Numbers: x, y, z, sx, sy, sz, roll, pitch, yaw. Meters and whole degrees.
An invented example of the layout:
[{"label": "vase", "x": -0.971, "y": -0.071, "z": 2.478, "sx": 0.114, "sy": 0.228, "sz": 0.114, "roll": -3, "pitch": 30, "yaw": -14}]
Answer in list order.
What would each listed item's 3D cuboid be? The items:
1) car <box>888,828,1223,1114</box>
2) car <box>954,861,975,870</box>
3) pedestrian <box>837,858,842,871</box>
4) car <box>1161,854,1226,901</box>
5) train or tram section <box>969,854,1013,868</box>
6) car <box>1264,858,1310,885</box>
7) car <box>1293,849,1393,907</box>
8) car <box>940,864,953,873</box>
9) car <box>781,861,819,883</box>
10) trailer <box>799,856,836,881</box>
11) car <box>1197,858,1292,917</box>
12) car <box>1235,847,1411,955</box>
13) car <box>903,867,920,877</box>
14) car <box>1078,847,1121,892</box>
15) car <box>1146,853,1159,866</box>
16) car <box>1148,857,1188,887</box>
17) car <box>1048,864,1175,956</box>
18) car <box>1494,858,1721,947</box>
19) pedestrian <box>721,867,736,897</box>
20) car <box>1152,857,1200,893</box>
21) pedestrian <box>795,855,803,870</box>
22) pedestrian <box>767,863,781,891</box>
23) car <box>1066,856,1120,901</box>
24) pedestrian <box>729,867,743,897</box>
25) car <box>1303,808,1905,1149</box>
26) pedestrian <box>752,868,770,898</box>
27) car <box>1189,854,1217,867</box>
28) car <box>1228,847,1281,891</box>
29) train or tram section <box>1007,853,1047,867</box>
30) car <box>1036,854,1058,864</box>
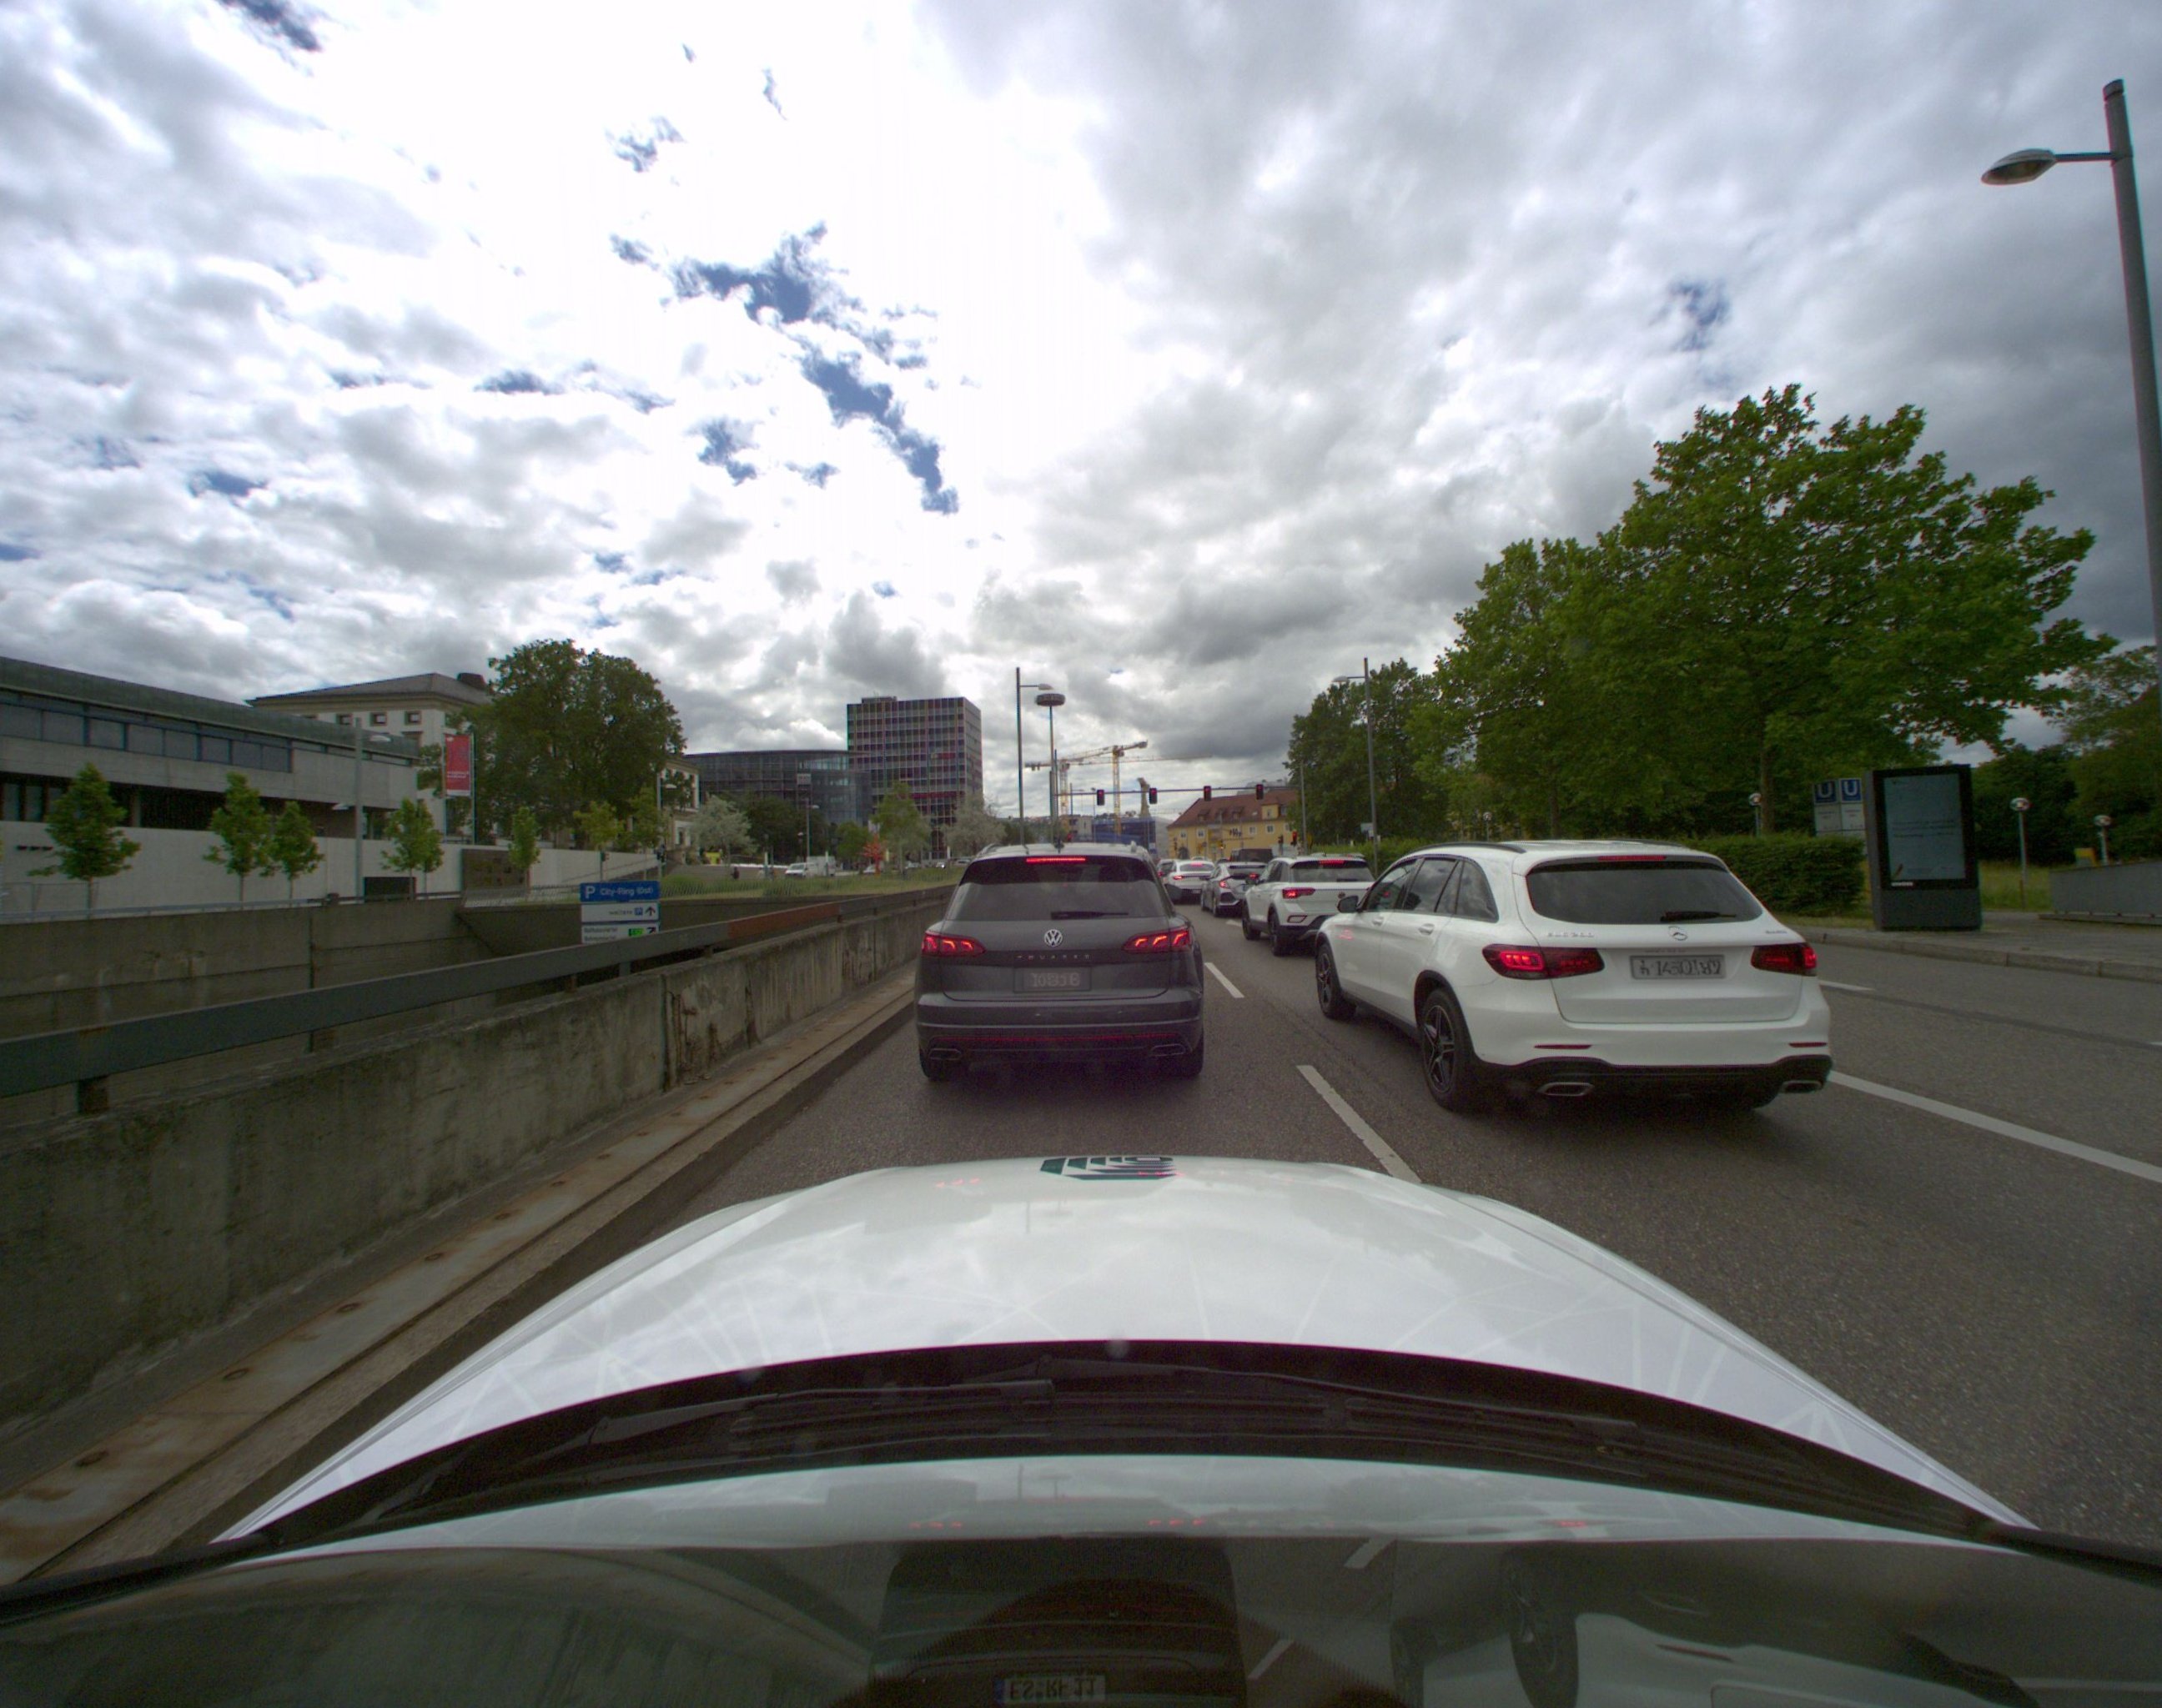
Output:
[{"label": "car", "x": -0.095, "y": 0.705, "z": 6.801, "sx": 1.944, "sy": 1.651, "sz": 4.001, "roll": -1, "pitch": 0, "yaw": 1}, {"label": "car", "x": -22.802, "y": 2.254, "z": 159.643, "sx": 4.173, "sy": 1.603, "sz": 1.764, "roll": -1, "pitch": -2, "yaw": 38}, {"label": "pedestrian", "x": -38.001, "y": 1.654, "z": 128.217, "sx": 0.740, "sy": 2.013, "sz": 0.915, "roll": -2, "pitch": 1, "yaw": -17}, {"label": "car", "x": 3.909, "y": 0.805, "z": 28.982, "sx": 1.918, "sy": 1.529, "sz": 4.493, "roll": -1, "pitch": -1, "yaw": 3}, {"label": "train or tram section", "x": -20.229, "y": 1.515, "z": 183.464, "sx": 10.296, "sy": 3.010, "sz": 2.612, "roll": -1, "pitch": -2, "yaw": 30}, {"label": "car", "x": 11.501, "y": 0.946, "z": 45.666, "sx": 1.751, "sy": 1.447, "sz": 3.633, "roll": 0, "pitch": -1, "yaw": 1}, {"label": "car", "x": 8.058, "y": 0.687, "z": 25.478, "sx": 1.984, "sy": 1.640, "sz": 4.309, "roll": -1, "pitch": 0, "yaw": 4}, {"label": "car", "x": -23.436, "y": 2.472, "z": 142.218, "sx": 1.727, "sy": 1.495, "sz": 3.594, "roll": 0, "pitch": -2, "yaw": 0}, {"label": "car", "x": -28.415, "y": 1.820, "z": 82.570, "sx": 1.985, "sy": 2.013, "sz": 4.695, "roll": -2, "pitch": 1, "yaw": 3}, {"label": "trailer", "x": -28.311, "y": 1.500, "z": 87.668, "sx": 2.030, "sy": 2.604, "sz": 5.511, "roll": 0, "pitch": 0, "yaw": 2}, {"label": "car", "x": 4.321, "y": 0.859, "z": 22.241, "sx": 1.918, "sy": 1.432, "sz": 4.493, "roll": -1, "pitch": -1, "yaw": 3}, {"label": "car", "x": 3.934, "y": 0.724, "z": 14.094, "sx": 1.918, "sy": 1.551, "sz": 4.493, "roll": -1, "pitch": -1, "yaw": 3}, {"label": "car", "x": -25.439, "y": 2.718, "z": 122.512, "sx": 1.727, "sy": 1.495, "sz": 3.594, "roll": 0, "pitch": -2, "yaw": 0}, {"label": "car", "x": 0.880, "y": 0.726, "z": 38.701, "sx": 1.944, "sy": 2.018, "sz": 3.932, "roll": 0, "pitch": 0, "yaw": 1}, {"label": "car", "x": 9.719, "y": 0.751, "z": 111.455, "sx": 1.612, "sy": 1.627, "sz": 4.002, "roll": 0, "pitch": -2, "yaw": 3}, {"label": "car", "x": 4.663, "y": 0.944, "z": 44.082, "sx": 1.918, "sy": 1.529, "sz": 4.050, "roll": -1, "pitch": -1, "yaw": 3}, {"label": "car", "x": 0.530, "y": 0.885, "z": 14.526, "sx": 1.944, "sy": 1.384, "sz": 3.932, "roll": 0, "pitch": 0, "yaw": 1}, {"label": "car", "x": 9.807, "y": 0.849, "z": 15.679, "sx": 1.921, "sy": 1.460, "sz": 4.536, "roll": 0, "pitch": -2, "yaw": 8}, {"label": "pedestrian", "x": -23.652, "y": 1.865, "z": 54.651, "sx": 0.794, "sy": 2.013, "sz": 0.829, "roll": -2, "pitch": 0, "yaw": -27}, {"label": "car", "x": 4.345, "y": 0.951, "z": 37.796, "sx": 1.918, "sy": 1.529, "sz": 4.050, "roll": -1, "pitch": -1, "yaw": 3}, {"label": "pedestrian", "x": -39.686, "y": 1.156, "z": 114.709, "sx": 0.737, "sy": 2.013, "sz": 1.113, "roll": -2, "pitch": 1, "yaw": -3}, {"label": "pedestrian", "x": -22.581, "y": 1.702, "z": 59.955, "sx": 0.729, "sy": 2.012, "sz": 0.628, "roll": -2, "pitch": 4, "yaw": -6}, {"label": "car", "x": 0.482, "y": 0.885, "z": 31.169, "sx": 1.944, "sy": 1.600, "sz": 3.932, "roll": 0, "pitch": 0, "yaw": 1}, {"label": "pedestrian", "x": -23.377, "y": 1.880, "z": 55.140, "sx": 0.794, "sy": 2.013, "sz": 0.830, "roll": -2, "pitch": 0, "yaw": -26}, {"label": "car", "x": 3.176, "y": 0.615, "z": 6.261, "sx": 1.918, "sy": 1.653, "sz": 4.493, "roll": -1, "pitch": 0, "yaw": 3}, {"label": "pedestrian", "x": -22.002, "y": 1.992, "z": 55.998, "sx": 0.852, "sy": 2.013, "sz": 0.633, "roll": -2, "pitch": 1, "yaw": 28}, {"label": "car", "x": 19.385, "y": 1.051, "z": 129.606, "sx": 3.948, "sy": 2.014, "sz": 1.947, "roll": -1, "pitch": -2, "yaw": 32}, {"label": "car", "x": 8.284, "y": 0.702, "z": 39.186, "sx": 1.902, "sy": 2.014, "sz": 4.014, "roll": 0, "pitch": -1, "yaw": 3}, {"label": "train or tram section", "x": -11.905, "y": 1.393, "z": 178.704, "sx": 8.836, "sy": 3.010, "sz": 2.612, "roll": -1, "pitch": -2, "yaw": 30}, {"label": "car", "x": -7.156, "y": 1.001, "z": 173.112, "sx": 4.402, "sy": 2.014, "sz": 2.012, "roll": -1, "pitch": -2, "yaw": 36}]
